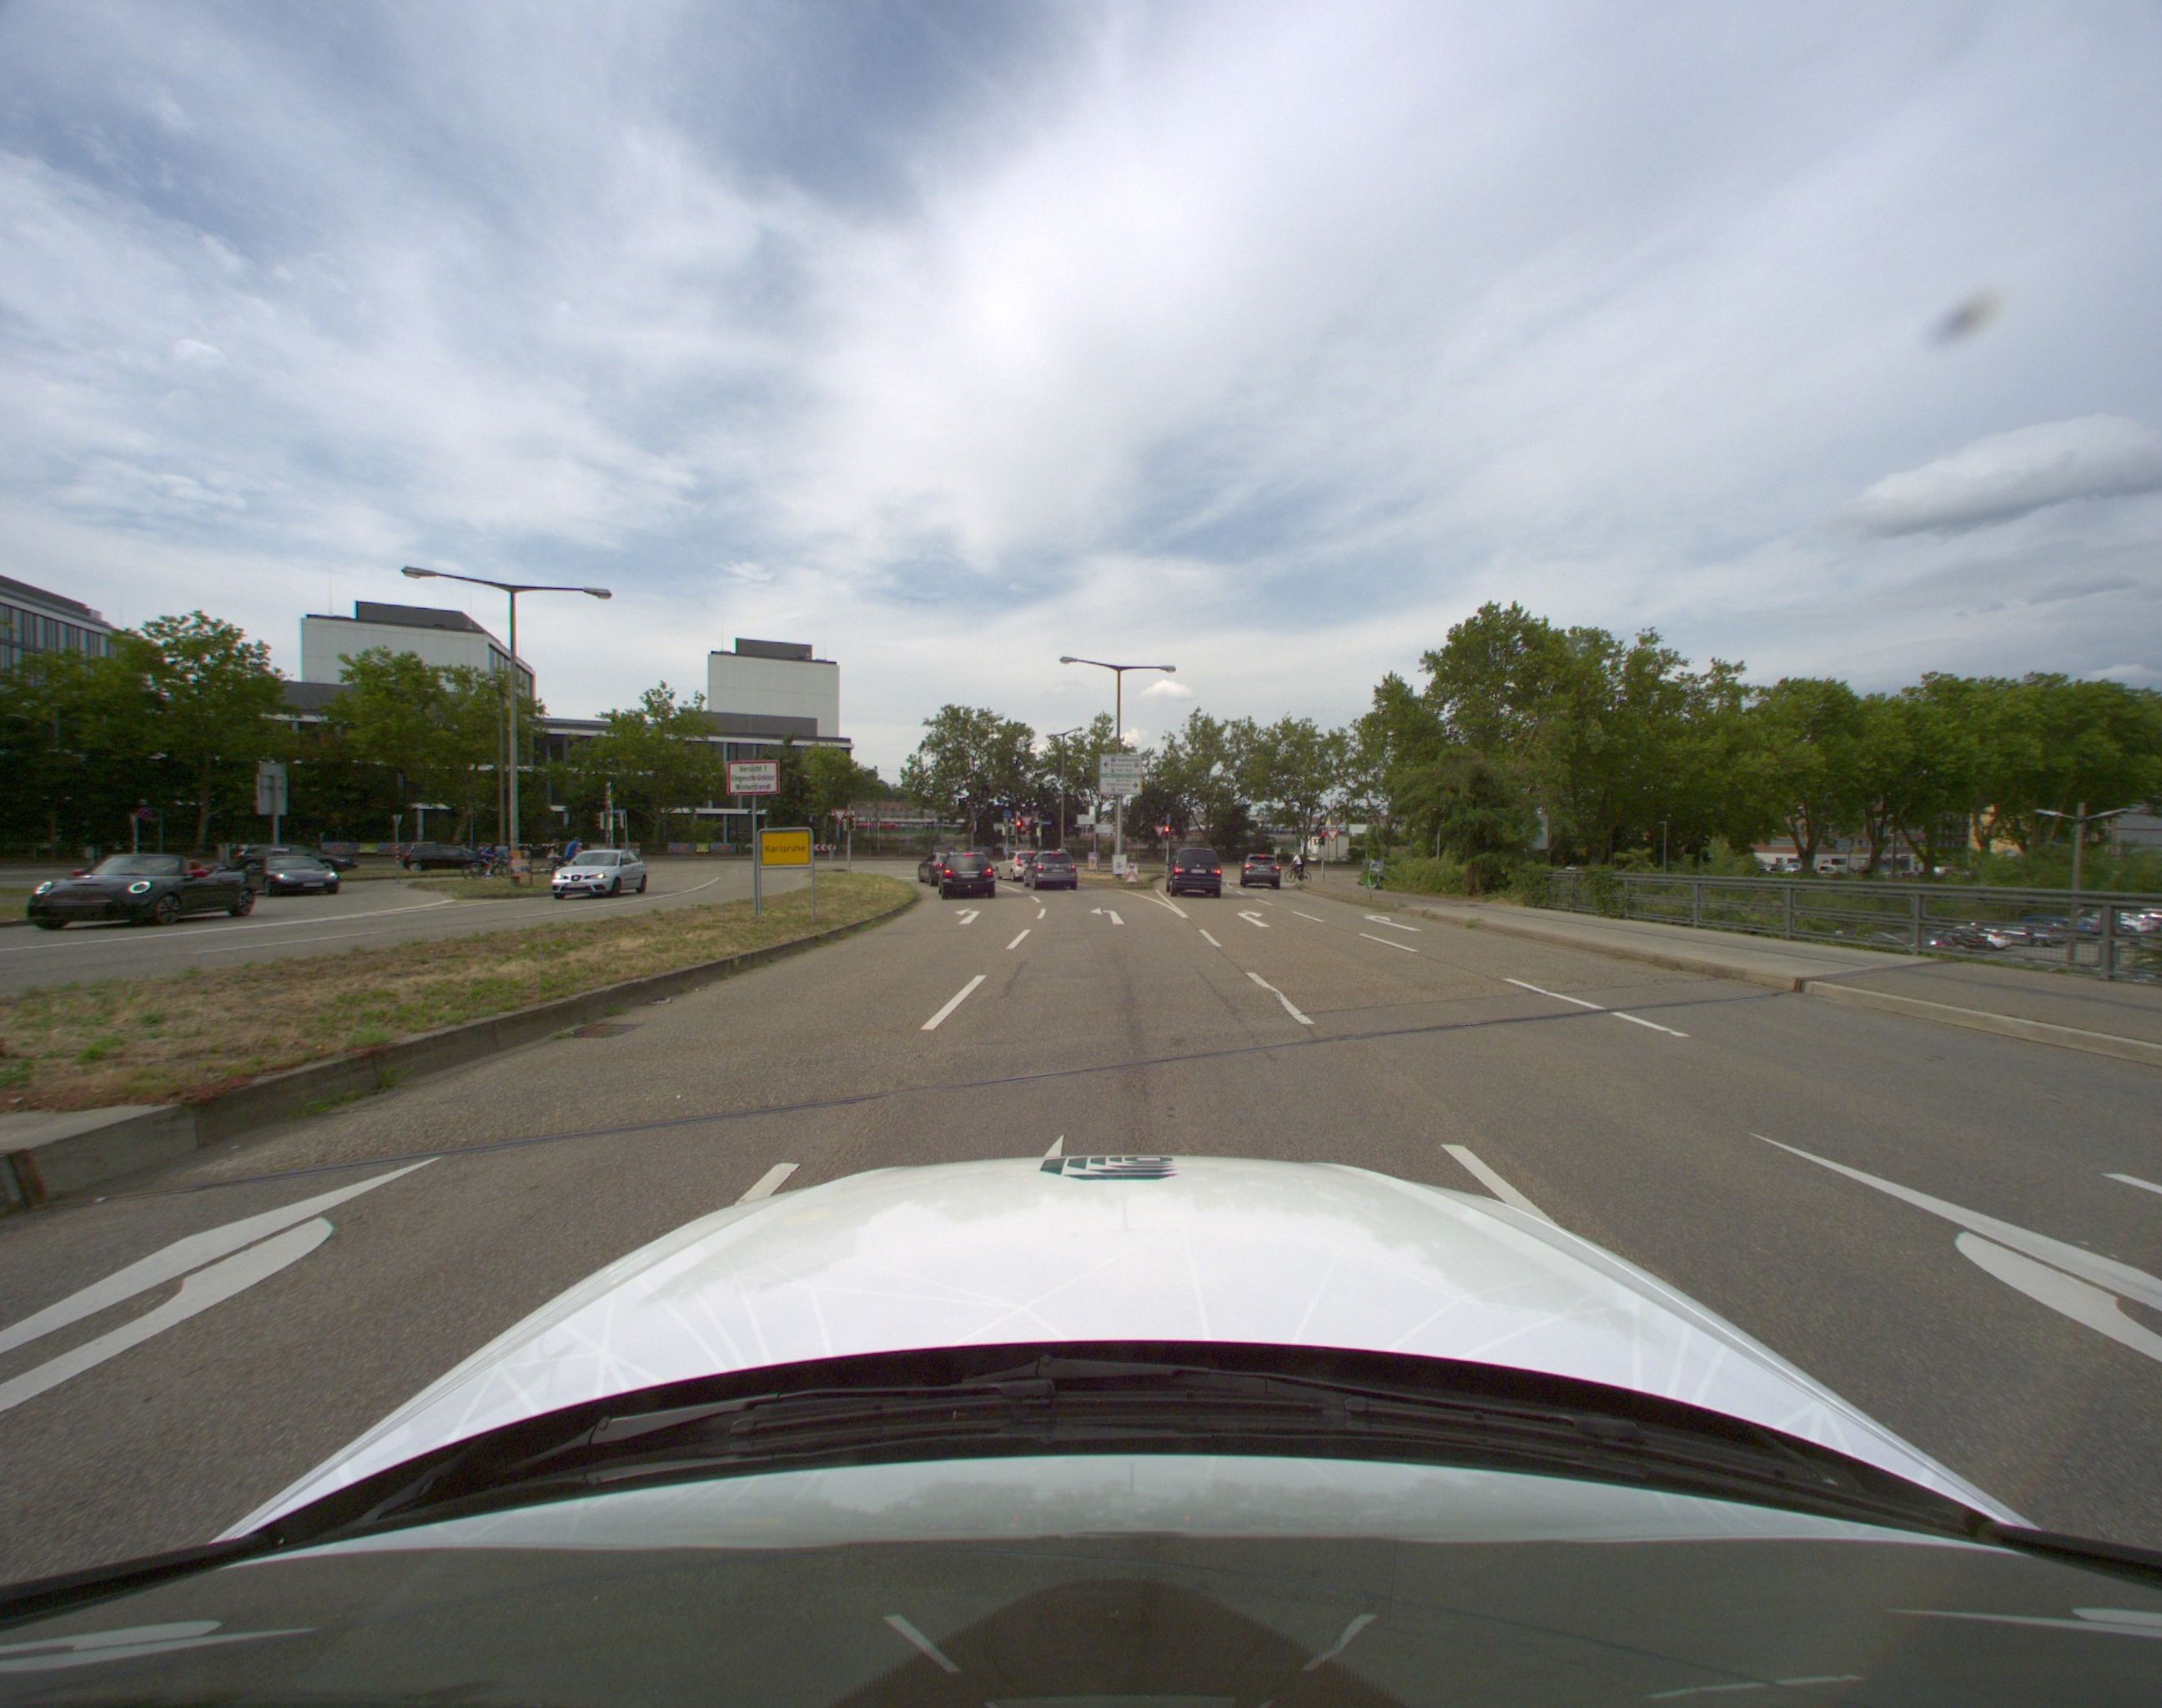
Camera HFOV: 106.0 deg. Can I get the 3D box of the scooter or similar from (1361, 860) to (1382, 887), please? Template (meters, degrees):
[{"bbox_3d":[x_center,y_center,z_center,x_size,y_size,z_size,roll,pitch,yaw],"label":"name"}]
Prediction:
[{"bbox_3d":[12.937,0.868,36.344,0.396,1.183,1.278,0,0,-5],"label":"scooter or similar"}]

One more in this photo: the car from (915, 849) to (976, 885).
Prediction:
[{"bbox_3d":[-6.068,0.526,36.108,1.825,1.414,4.745,1,1,-20],"label":"car"}]

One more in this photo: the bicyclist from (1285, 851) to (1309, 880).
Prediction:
[{"bbox_3d":[12.703,0.668,47.933,0.817,1.696,1.103,0,1,-38],"label":"bicyclist"}]

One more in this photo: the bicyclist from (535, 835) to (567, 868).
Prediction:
[{"bbox_3d":[-23.731,-0.109,36.470,1.120,1.436,0.642,-1,2,-30],"label":"bicyclist"}]

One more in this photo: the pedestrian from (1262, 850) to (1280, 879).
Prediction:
[{"bbox_3d":[11.749,0.638,50.444,1.040,1.710,0.856,1,1,13],"label":"pedestrian"}]

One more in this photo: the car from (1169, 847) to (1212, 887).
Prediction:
[{"bbox_3d":[4.691,0.526,35.028,1.681,1.585,4.164,2,0,7],"label":"car"}]

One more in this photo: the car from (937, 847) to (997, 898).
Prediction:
[{"bbox_3d":[-4.040,0.600,28.471,1.758,1.575,4.020,1,1,-12],"label":"car"}]

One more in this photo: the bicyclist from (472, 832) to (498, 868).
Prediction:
[{"bbox_3d":[-25.550,-0.196,34.923,0.845,1.529,0.621,0,1,-39],"label":"bicyclist"}]

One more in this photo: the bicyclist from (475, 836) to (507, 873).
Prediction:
[{"bbox_3d":[-24.896,-0.003,34.356,1.025,1.539,0.621,0,1,-41],"label":"bicyclist"}]

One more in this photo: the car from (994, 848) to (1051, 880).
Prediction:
[{"bbox_3d":[-2.916,0.454,39.972,1.747,1.482,4.054,0,0,-20],"label":"car"}]

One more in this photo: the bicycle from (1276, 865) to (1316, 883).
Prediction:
[{"bbox_3d":[12.655,1.149,47.988,0.815,0.952,2.210,0,1,-38],"label":"bicycle"}]

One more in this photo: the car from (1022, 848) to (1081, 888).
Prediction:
[{"bbox_3d":[-1.295,0.527,33.483,1.742,1.546,4.064,0,0,-12],"label":"car"}]

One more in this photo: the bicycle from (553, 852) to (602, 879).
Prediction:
[{"bbox_3d":[-23.530,0.513,38.080,1.912,1.210,0.637,0,1,-29],"label":"bicycle"}]

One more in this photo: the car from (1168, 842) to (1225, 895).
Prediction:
[{"bbox_3d":[4.128,0.505,29.606,1.742,1.724,4.143,2,0,5],"label":"car"}]

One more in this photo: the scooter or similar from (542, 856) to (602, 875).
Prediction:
[{"bbox_3d":[-24.605,0.538,39.397,2.399,0.849,0.799,-1,2,-42],"label":"scooter or similar"}]

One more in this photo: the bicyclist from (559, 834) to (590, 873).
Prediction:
[{"bbox_3d":[-21.909,-0.028,35.197,0.801,1.656,0.889,0,1,35],"label":"bicyclist"}]

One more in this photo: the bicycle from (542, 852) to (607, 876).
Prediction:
[{"bbox_3d":[-21.891,0.422,35.218,0.801,0.952,2.250,0,1,34],"label":"bicycle"}]

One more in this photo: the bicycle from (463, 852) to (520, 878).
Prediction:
[{"bbox_3d":[-24.885,0.456,34.383,1.917,1.013,0.621,-1,1,-41],"label":"bicycle"}]

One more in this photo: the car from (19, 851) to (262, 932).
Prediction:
[{"bbox_3d":[-18.788,0.675,16.544,1.750,1.410,3.845,-1,0,-24],"label":"car"}]

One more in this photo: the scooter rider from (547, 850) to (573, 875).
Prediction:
[{"bbox_3d":[-24.969,0.390,39.057,0.922,1.137,0.799,-1,1,-42],"label":"scooter rider"}]

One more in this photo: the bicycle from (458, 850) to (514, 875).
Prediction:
[{"bbox_3d":[-25.521,0.348,34.963,1.917,1.013,0.621,-1,1,-39],"label":"bicycle"}]

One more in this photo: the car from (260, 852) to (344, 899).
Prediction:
[{"bbox_3d":[-26.567,0.671,27.734,4.298,1.446,1.838,0,0,43],"label":"car"}]

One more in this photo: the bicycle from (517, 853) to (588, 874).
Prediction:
[{"bbox_3d":[-23.650,0.425,36.512,2.599,0.890,0.698,0,1,-29],"label":"bicycle"}]

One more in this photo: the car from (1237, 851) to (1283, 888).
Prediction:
[{"bbox_3d":[8.639,0.699,39.638,1.741,1.643,4.145,2,0,7],"label":"car"}]

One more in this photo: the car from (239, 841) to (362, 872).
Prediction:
[{"bbox_3d":[-38.861,0.106,40.651,4.075,1.450,1.690,0,1,-24],"label":"car"}]

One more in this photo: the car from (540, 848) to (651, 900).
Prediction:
[{"bbox_3d":[-14.507,0.544,24.563,1.616,1.410,3.846,-1,0,-11],"label":"car"}]

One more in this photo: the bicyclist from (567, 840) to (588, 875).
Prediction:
[{"bbox_3d":[-23.533,0.162,38.058,0.784,1.581,0.649,0,1,-29],"label":"bicyclist"}]
